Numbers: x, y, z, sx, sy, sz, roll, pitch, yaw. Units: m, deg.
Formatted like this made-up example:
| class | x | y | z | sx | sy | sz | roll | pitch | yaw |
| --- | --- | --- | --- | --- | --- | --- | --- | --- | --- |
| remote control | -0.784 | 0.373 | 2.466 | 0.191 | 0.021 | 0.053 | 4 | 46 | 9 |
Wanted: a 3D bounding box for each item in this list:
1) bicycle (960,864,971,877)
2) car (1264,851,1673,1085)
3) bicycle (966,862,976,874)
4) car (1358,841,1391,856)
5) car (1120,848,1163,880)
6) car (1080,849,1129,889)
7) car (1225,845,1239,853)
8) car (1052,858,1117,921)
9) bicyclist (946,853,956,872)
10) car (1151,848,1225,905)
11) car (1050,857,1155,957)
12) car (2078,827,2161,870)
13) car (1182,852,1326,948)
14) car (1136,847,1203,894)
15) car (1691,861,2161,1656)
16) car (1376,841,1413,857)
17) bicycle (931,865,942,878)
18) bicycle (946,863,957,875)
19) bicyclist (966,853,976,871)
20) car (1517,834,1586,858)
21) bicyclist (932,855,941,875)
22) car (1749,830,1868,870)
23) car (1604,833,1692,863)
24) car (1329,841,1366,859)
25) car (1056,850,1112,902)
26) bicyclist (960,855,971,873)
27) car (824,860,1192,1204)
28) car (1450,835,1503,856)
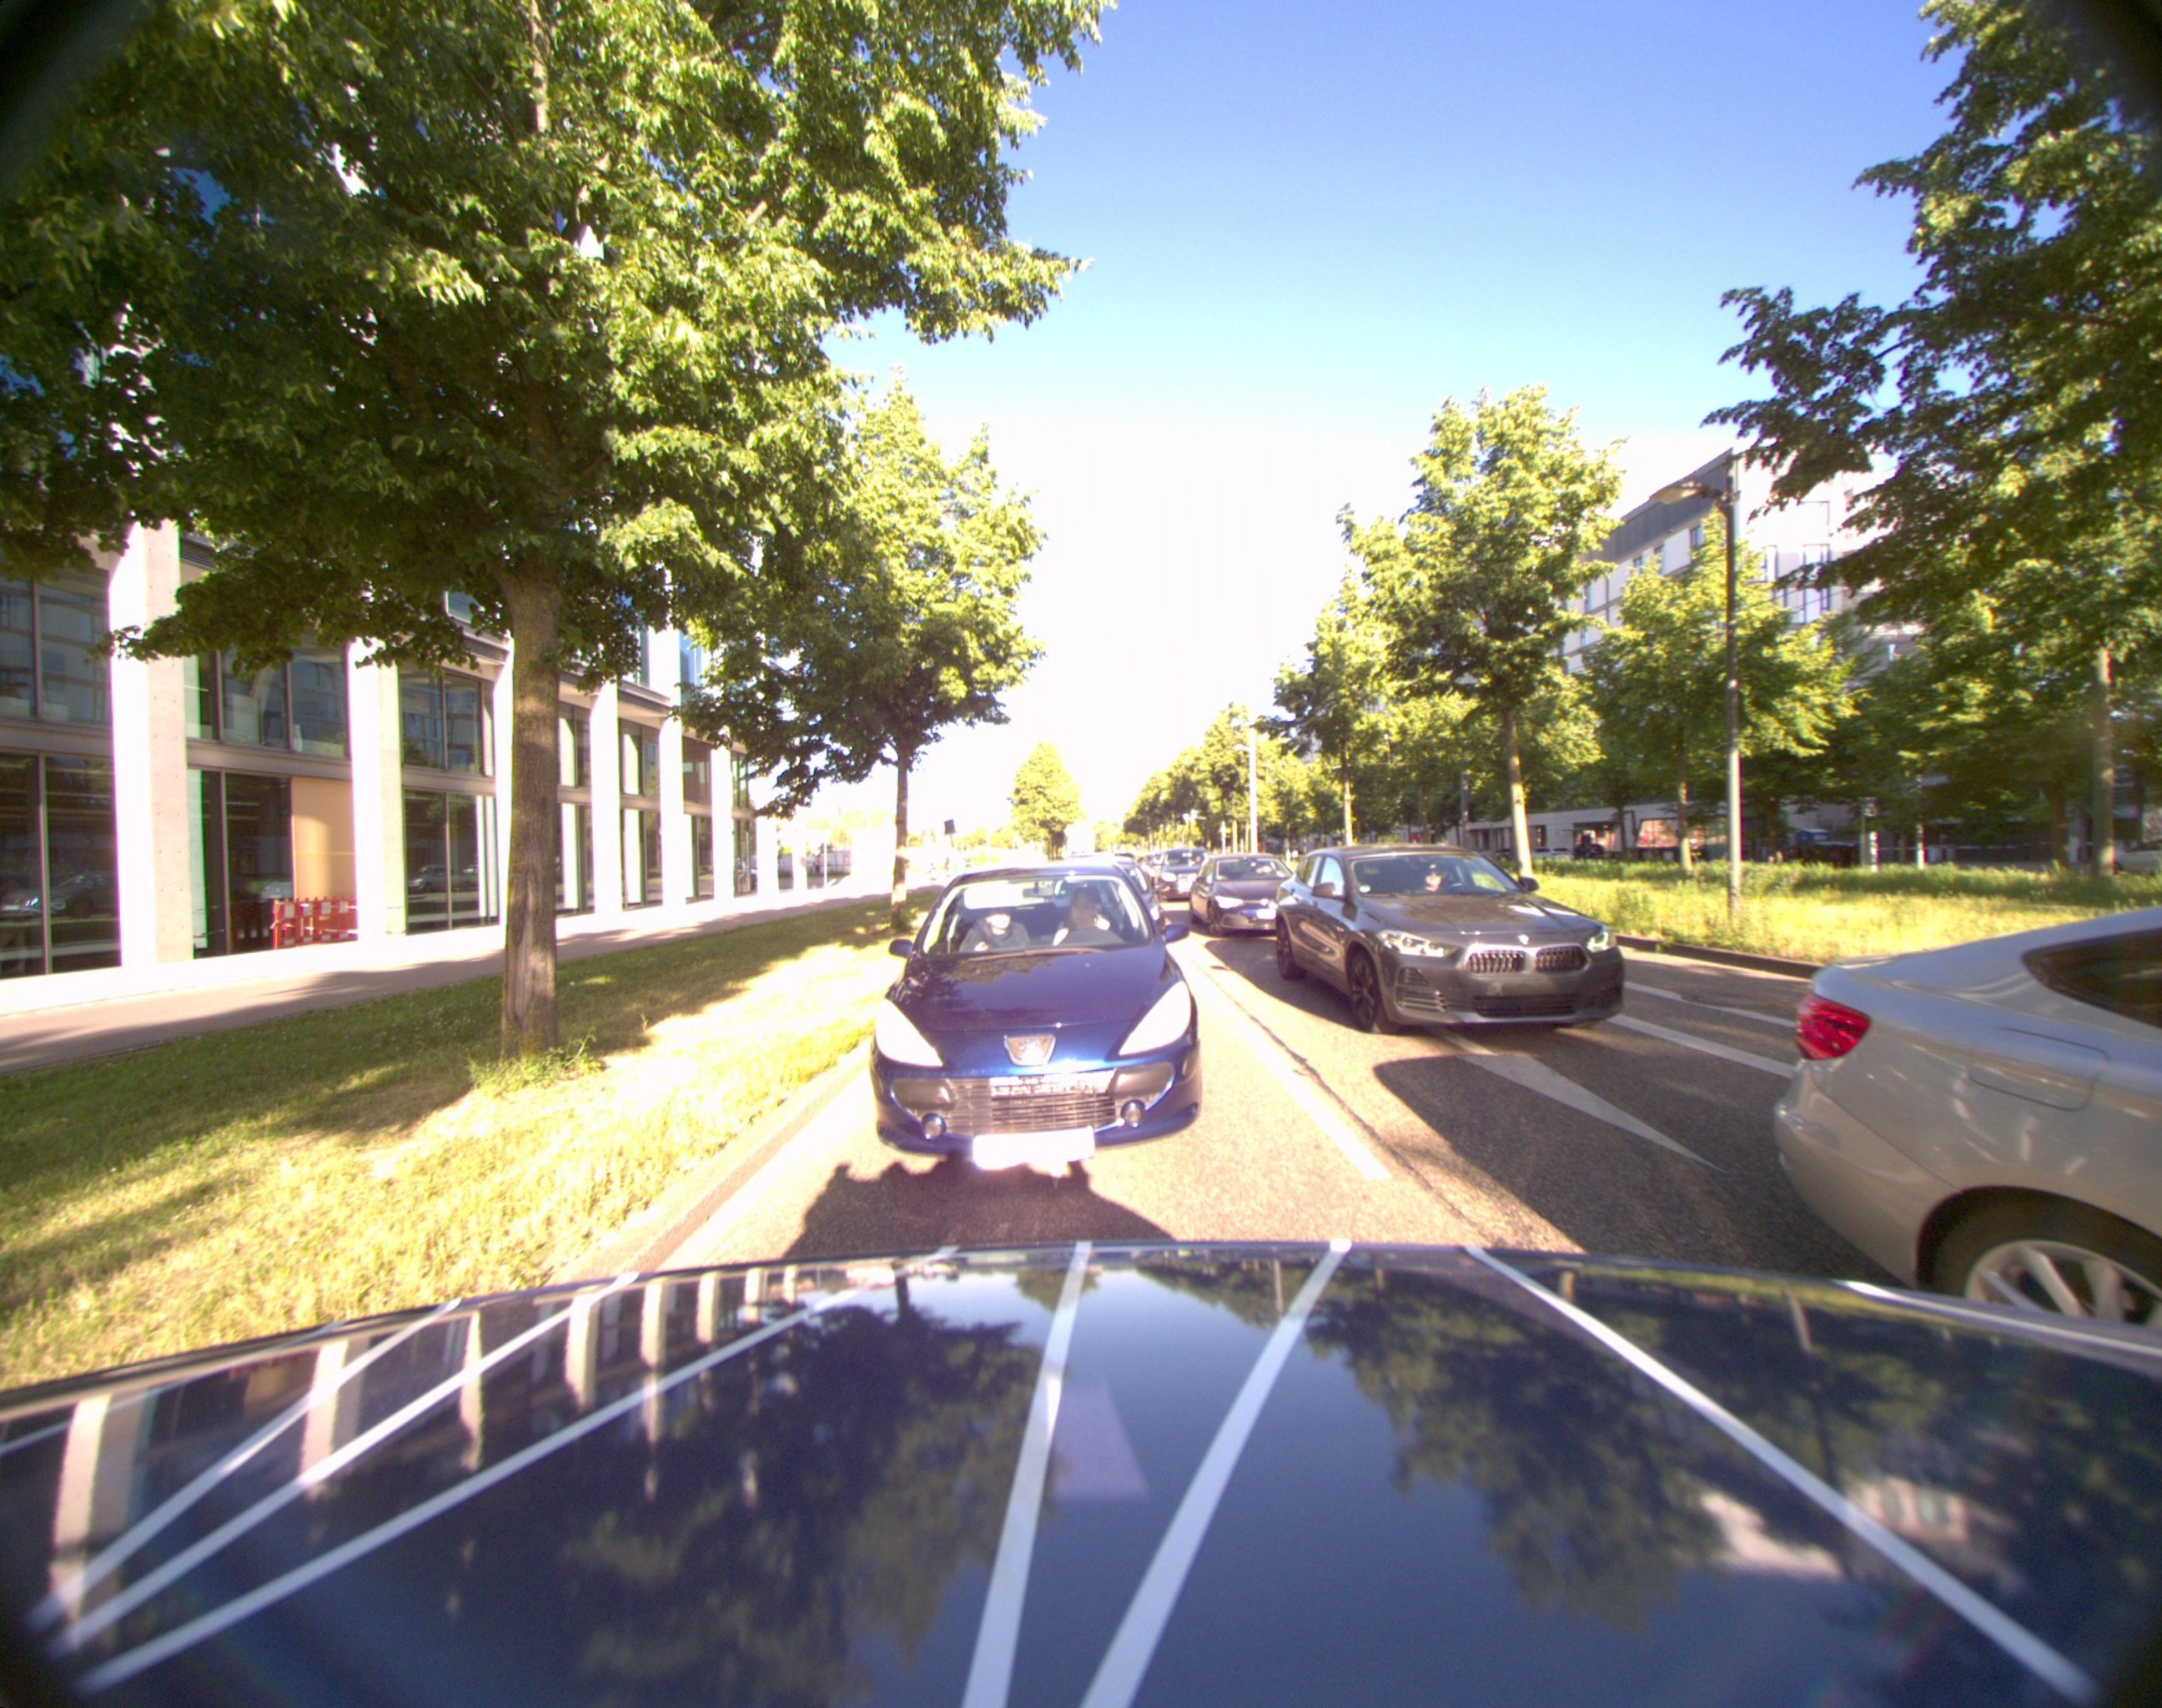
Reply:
| class | x | y | z | sx | sy | sz | roll | pitch | yaw |
| --- | --- | --- | --- | --- | --- | --- | --- | --- | --- |
| bicycle | -7.644 | 1.078 | 50.464 | 0.464 | 0.813 | 1.344 | -2 | 1 | 1 |
| car | 3.094 | 0.760 | 7.124 | 1.812 | 1.514 | 4.028 | -1 | 1 | 1 |
| bicycle | -7.891 | 1.025 | 54.613 | 0.464 | 0.813 | 1.344 | -2 | 1 | 1 |
| car | 34.749 | -0.688 | 90.105 | 2.012 | 1.689 | 4.791 | -1 | 1 | -1 |
| car | 3.380 | 0.517 | 43.264 | 2.012 | 1.689 | 4.791 | -1 | 1 | -1 |
| car | 1.018 | 0.622 | 35.111 | 2.012 | 1.689 | 4.791 | -1 | 1 | -1 |
| car | 27.351 | -0.877 | 137.705 | 1.666 | 1.385 | 4.000 | -1 | 1 | 1 |
| car | 0.101 | 0.809 | 18.880 | 1.407 | 1.326 | 3.785 | -1 | 1 | 1 |
| bicyclist | -9.266 | 0.613 | 54.265 | 0.534 | 1.282 | 0.457 | -2 | 2 | 1 |
| car | 3.197 | 0.615 | 23.472 | 1.812 | 1.581 | 4.165 | -1 | 1 | 2 |
| car | 0.366 | 0.836 | 14.019 | 1.612 | 1.463 | 4.395 | -1 | 1 | 1 |
| car | 38.514 | -0.207 | 26.715 | 1.757 | 1.496 | 4.000 | -1 | 1 | 2 |
| car | 3.045 | 0.732 | 14.235 | 1.812 | 1.446 | 4.254 | -1 | 1 | 2 |
| car | 3.401 | 0.579 | 29.982 | 2.012 | 1.689 | 4.791 | -1 | 1 | -1 |
| car | 2.988 | 0.803 | 0.210 | 1.812 | 1.480 | 4.741 | -1 | 1 | 0 |
| car | 34.714 | -0.598 | 84.300 | 2.012 | 1.689 | 4.791 | -1 | 1 | -1 |
| bicycle | -9.491 | 1.159 | 49.938 | 0.415 | 0.813 | 1.320 | -2 | 1 | 1 |
| bicycle | -9.251 | 1.090 | 54.350 | 0.464 | 0.813 | 1.344 | -2 | 1 | 1 |
| bicyclist | -7.922 | 0.552 | 54.758 | 0.534 | 1.282 | 0.521 | -2 | 2 | 1 |
| car | 34.869 | -0.582 | 56.462 | 2.012 | 1.689 | 4.790 | -1 | 1 | -3 |
| bicyclist | -9.516 | 0.701 | 49.925 | 0.448 | 1.282 | 0.418 | -2 | 2 | 1 |
| car | 34.299 | -0.180 | 35.995 | 1.858 | 1.739 | 4.000 | -1 | 1 | 1 |
| car | 34.451 | -0.381 | 46.340 | 1.858 | 1.674 | 4.792 | -1 | 1 | 1 |
| car | 25.094 | -0.383 | 71.670 | 1.858 | 1.528 | 4.735 | -1 | 1 | 1 |
| car | 0.118 | 0.689 | 25.835 | 1.705 | 1.591 | 3.785 | -1 | 1 | 1 |
| bicyclist | -7.671 | 0.655 | 50.460 | 0.534 | 1.210 | 0.507 | -2 | 2 | 1 |
| car | -0.314 | 0.857 | 5.453 | 1.686 | 1.514 | 3.785 | -1 | 1 | 1 |
| car | 34.671 | -0.752 | 66.799 | 2.012 | 1.689 | 4.790 | -1 | 1 | -3 |
